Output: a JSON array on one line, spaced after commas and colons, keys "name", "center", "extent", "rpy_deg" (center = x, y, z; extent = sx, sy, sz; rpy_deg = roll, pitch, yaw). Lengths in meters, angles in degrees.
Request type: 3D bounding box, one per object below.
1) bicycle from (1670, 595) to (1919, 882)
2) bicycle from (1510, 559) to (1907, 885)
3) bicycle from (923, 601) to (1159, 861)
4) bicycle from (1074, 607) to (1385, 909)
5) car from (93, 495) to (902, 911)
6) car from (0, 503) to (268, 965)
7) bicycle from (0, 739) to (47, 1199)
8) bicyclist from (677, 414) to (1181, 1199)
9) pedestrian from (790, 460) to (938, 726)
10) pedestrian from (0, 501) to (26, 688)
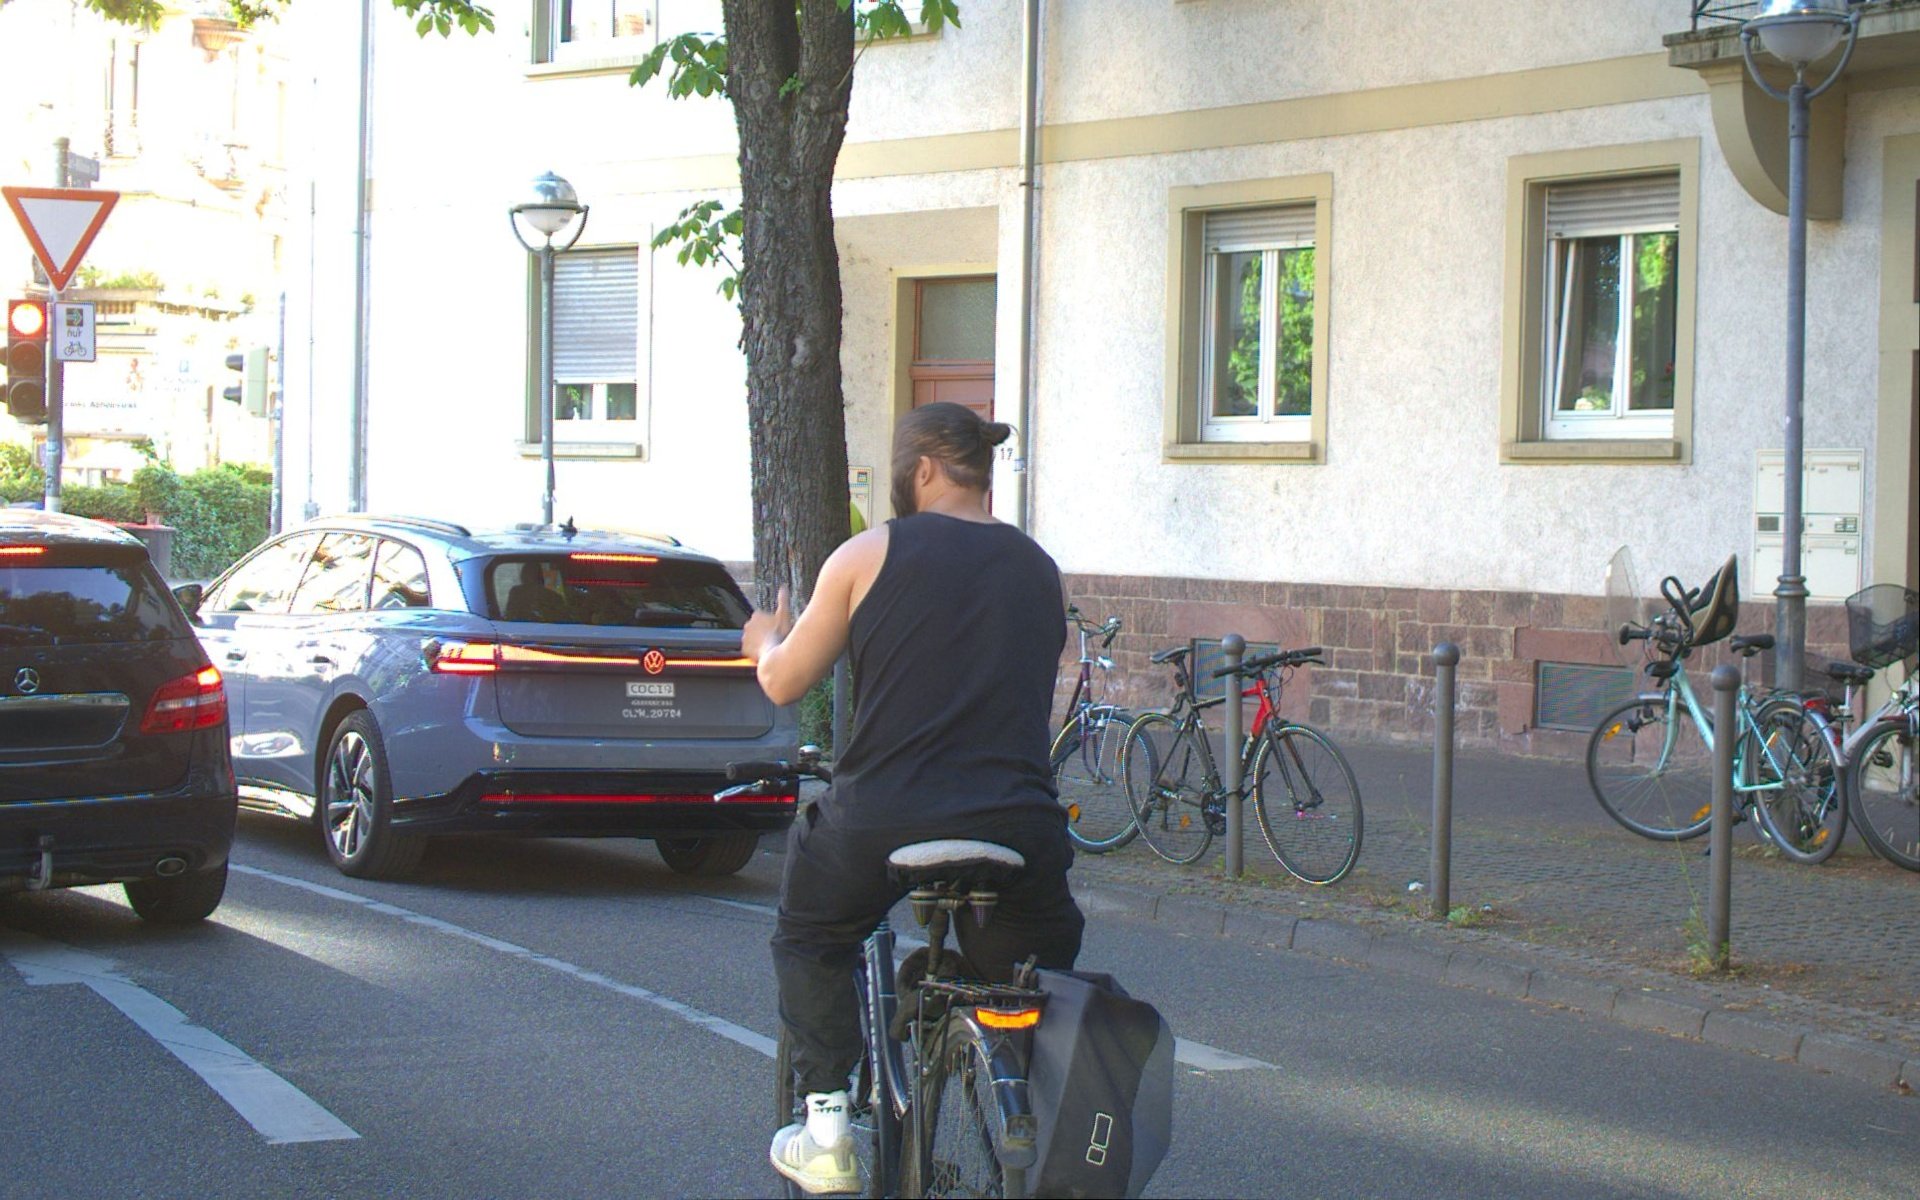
[{"name": "bicycle", "center": [3.904, 0.566, 14.904], "extent": [0.667, 1.103, 1.967], "rpy_deg": [1, 1, -19]}, {"name": "bicycle", "center": [3.192, 0.479, 14.886], "extent": [0.717, 1.273, 1.967], "rpy_deg": [-1, 2, -21]}, {"name": "bicycle", "center": [0.357, 0.580, 16.004], "extent": [0.480, 1.060, 1.636], "rpy_deg": [-2, 3, -22]}, {"name": "bicycle", "center": [1.102, 0.624, 14.416], "extent": [0.526, 1.103, 1.741], "rpy_deg": [-2, 3, -24]}, {"name": "car", "center": [-2.289, 0.387, 15.792], "extent": [1.970, 1.580, 4.475], "rpy_deg": [3, 0, -31]}, {"name": "car", "center": [-4.254, 0.408, 13.192], "extent": [1.790, 1.536, 3.860], "rpy_deg": [-2, 2, -34]}, {"name": "bicycle", "center": [-2.388, 0.777, 6.678], "extent": [0.717, 1.103, 1.967], "rpy_deg": [1, 1, -29]}, {"name": "bicyclist", "center": [-0.086, 0.501, 6.284], "extent": [0.686, 1.650, 0.990], "rpy_deg": [0, 2, -15]}, {"name": "pedestrian", "center": [-0.642, -0.069, 22.921], "extent": [0.643, 1.721, 0.888], "rpy_deg": [-2, 3, -27]}, {"name": "pedestrian", "center": [-8.864, -0.075, 30.618], "extent": [0.901, 1.629, 0.726], "rpy_deg": [3, 2, -21]}]
